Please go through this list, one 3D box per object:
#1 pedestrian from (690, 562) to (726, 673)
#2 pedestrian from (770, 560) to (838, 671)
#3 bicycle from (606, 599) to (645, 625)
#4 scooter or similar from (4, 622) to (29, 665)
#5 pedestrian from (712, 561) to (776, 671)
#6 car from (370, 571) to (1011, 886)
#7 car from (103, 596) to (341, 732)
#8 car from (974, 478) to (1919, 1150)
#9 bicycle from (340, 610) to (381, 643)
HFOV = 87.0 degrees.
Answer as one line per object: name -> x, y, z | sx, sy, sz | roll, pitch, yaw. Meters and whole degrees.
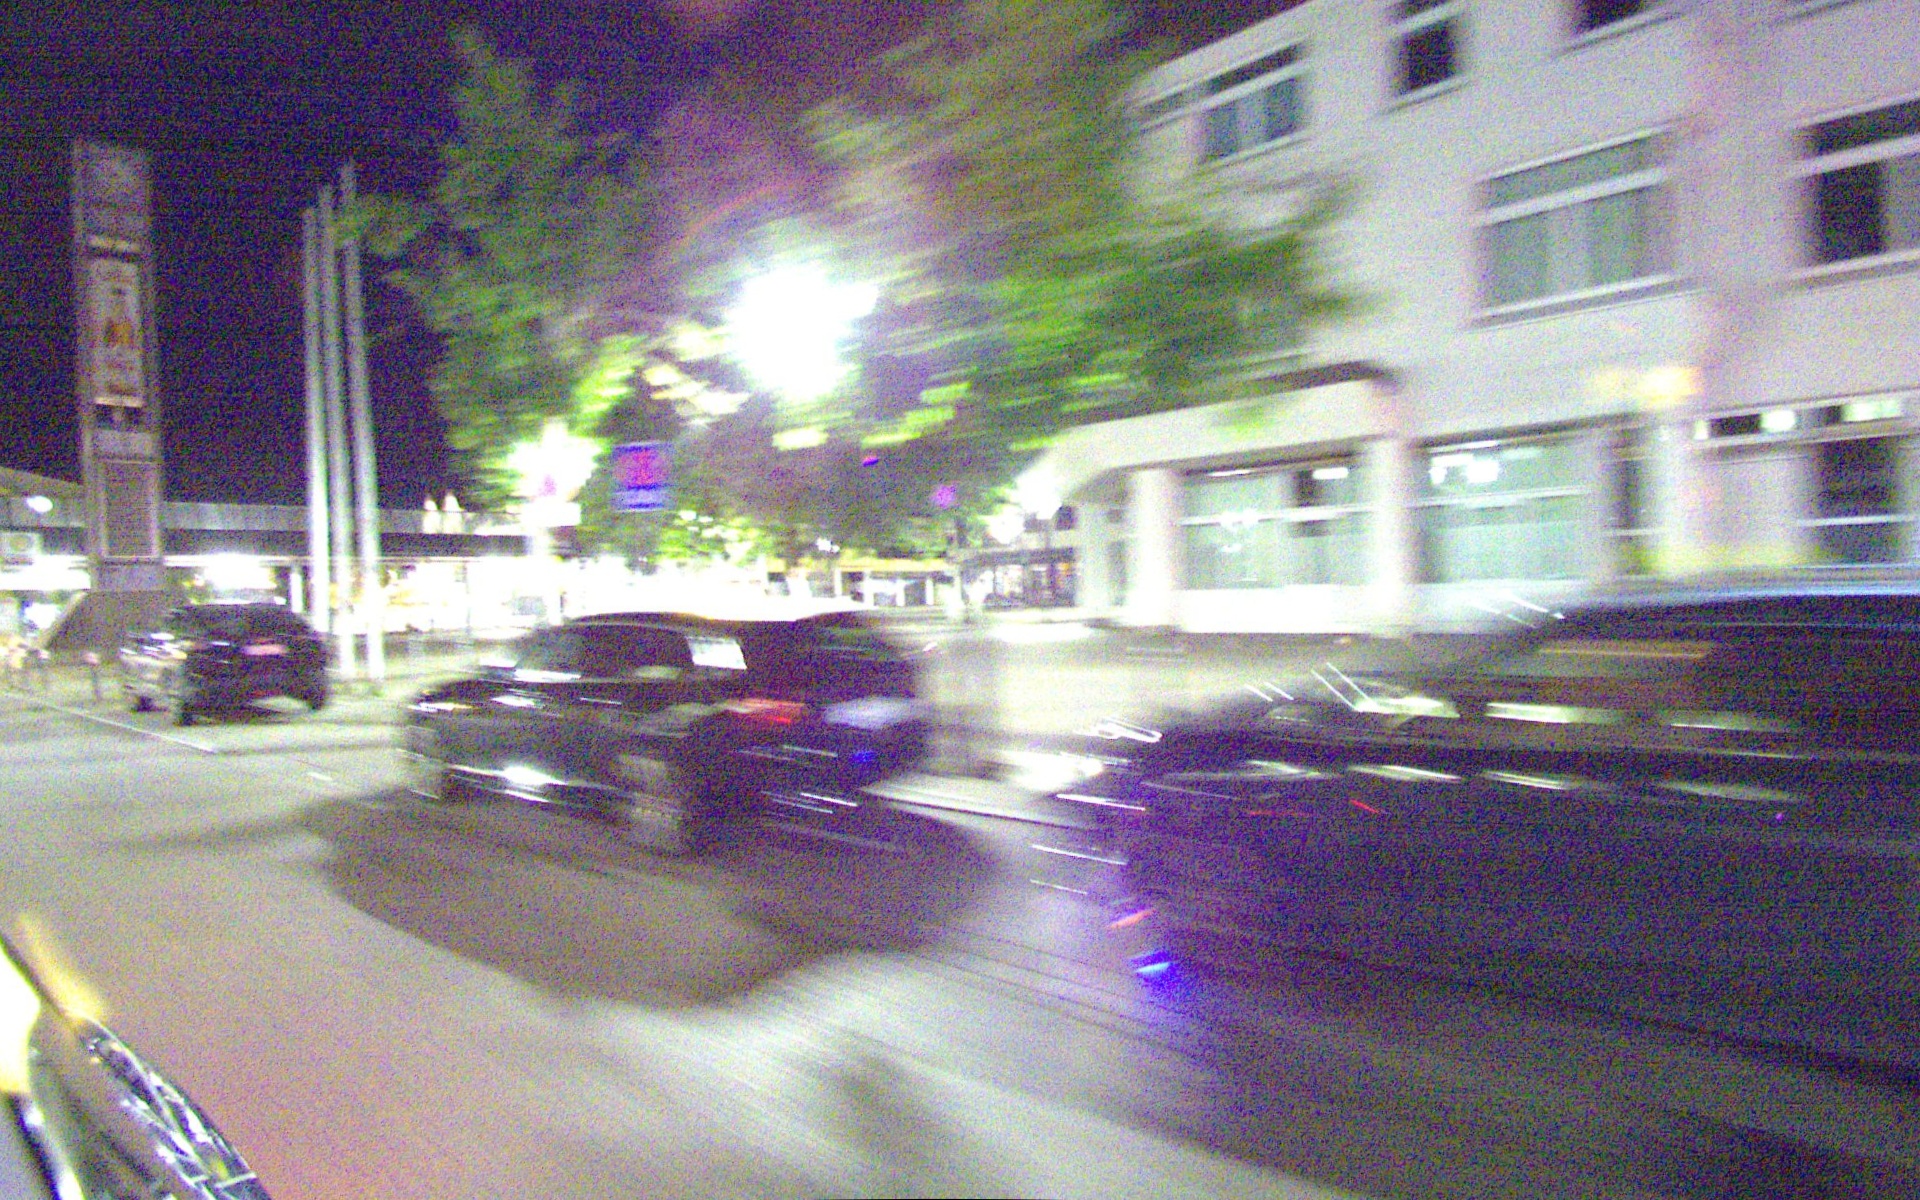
pedestrian -> -4.274, 0.287, 17.140 | 0.494, 1.835, 0.505 | -1, 0, -26
pedestrian -> -2.705, 0.251, 17.518 | 0.781, 1.831, 1.026 | -3, 1, -30
bicycle -> -17.951, 0.632, 54.259 | 2.508, 1.374, 0.765 | 0, 0, 39
scooter or similar -> -28.866, 1.345, 30.970 | 1.448, 1.273, 0.365 | -3, 0, 41
pedestrian -> -3.784, 0.268, 17.685 | 0.866, 1.845, 0.793 | -3, 1, -24
car -> -2.148, 0.660, 7.234 | 4.774, 1.553, 1.887 | -1, 1, 38
car -> -10.539, 0.791, 14.317 | 4.481, 1.585, 1.752 | -1, 1, 41
car -> 2.483, 0.527, 3.497 | 4.809, 1.649, 1.741 | -1, 0, 39
bicycle -> -26.274, 1.137, 44.332 | 2.410, 1.374, 0.755 | 0, 0, 39
